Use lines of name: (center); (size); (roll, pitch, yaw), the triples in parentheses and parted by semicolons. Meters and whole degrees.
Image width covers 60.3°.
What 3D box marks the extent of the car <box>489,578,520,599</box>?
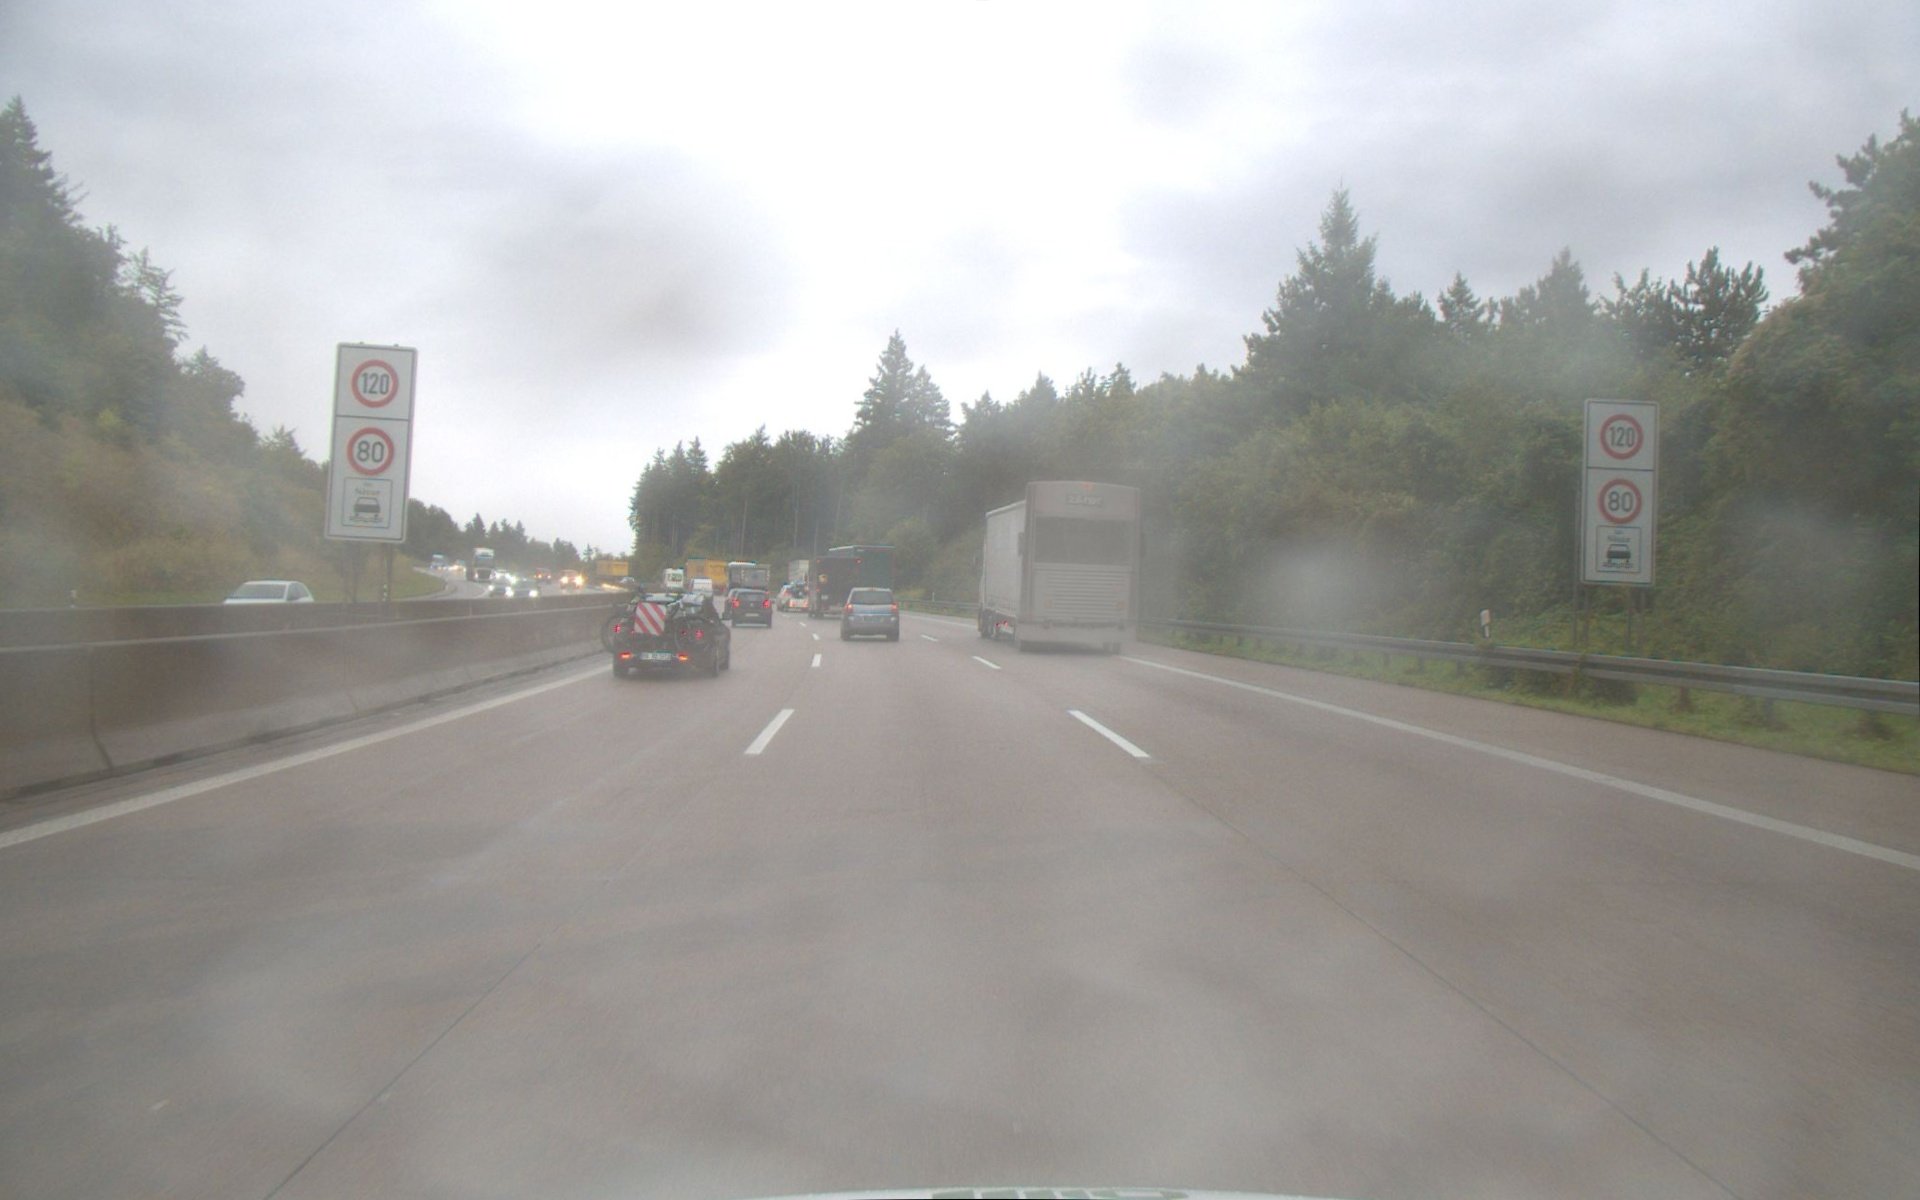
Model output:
car: (-36.804, -0.935, 133.794); (1.743, 1.667, 4.248); (0, 0, -6)

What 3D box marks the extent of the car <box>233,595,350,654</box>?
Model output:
car: (-18.425, 0.636, 45.779); (1.741, 1.544, 3.998); (0, 0, -2)

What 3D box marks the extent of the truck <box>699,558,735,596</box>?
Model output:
truck: (-28.576, -2.647, 194.044); (3.675, 4.283, 6.796); (0, 0, -13)

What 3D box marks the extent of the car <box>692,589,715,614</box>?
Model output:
car: (-20.779, 0.130, 133.763); (1.695, 2.049, 3.646); (0, 0, -12)

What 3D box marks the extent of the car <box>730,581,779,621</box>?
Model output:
car: (-8.124, 0.015, 65.611); (1.651, 1.487, 3.681); (2, 0, -4)

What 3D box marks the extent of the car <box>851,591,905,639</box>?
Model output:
car: (-2.572, 0.437, 51.273); (1.523, 1.375, 3.681); (2, 0, -4)

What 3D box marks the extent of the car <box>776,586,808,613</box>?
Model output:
car: (-10.291, -0.045, 101.041); (1.846, 1.498, 3.995); (2, 0, -6)

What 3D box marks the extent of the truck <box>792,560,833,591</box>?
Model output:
truck: (-12.263, -2.040, 137.063); (2.919, 2.349, 6.655); (2, 0, -8)

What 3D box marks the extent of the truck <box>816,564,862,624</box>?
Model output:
truck: (-6.242, -0.392, 86.103); (2.224, 2.937, 7.899); (1, 1, -3)

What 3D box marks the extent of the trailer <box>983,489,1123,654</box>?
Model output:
trailer: (2.434, -0.770, 47.678); (2.372, 4.139, 12.043); (1, 0, -5)

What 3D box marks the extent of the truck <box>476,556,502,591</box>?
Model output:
truck: (-59.955, -3.345, 210.618); (2.697, 4.359, 8.289); (1, 0, -12)

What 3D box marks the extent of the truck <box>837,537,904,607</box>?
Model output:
truck: (-5.753, -1.725, 104.594); (3.306, 4.203, 10.419); (1, 0, -8)

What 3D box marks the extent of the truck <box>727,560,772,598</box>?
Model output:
truck: (-17.633, -1.793, 138.062); (3.029, 2.956, 7.878); (1, 1, -13)

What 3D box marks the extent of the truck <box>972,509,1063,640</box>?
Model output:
truck: (1.834, -0.830, 54.837); (2.373, 4.139, 4.973); (1, 0, -5)

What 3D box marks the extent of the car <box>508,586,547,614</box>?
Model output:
car: (-26.561, -0.024, 101.713); (1.742, 1.667, 3.995); (0, 0, -6)

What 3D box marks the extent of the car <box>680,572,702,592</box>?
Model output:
car: (-29.084, -1.944, 178.839); (1.960, 2.095, 3.984); (0, 0, -15)
